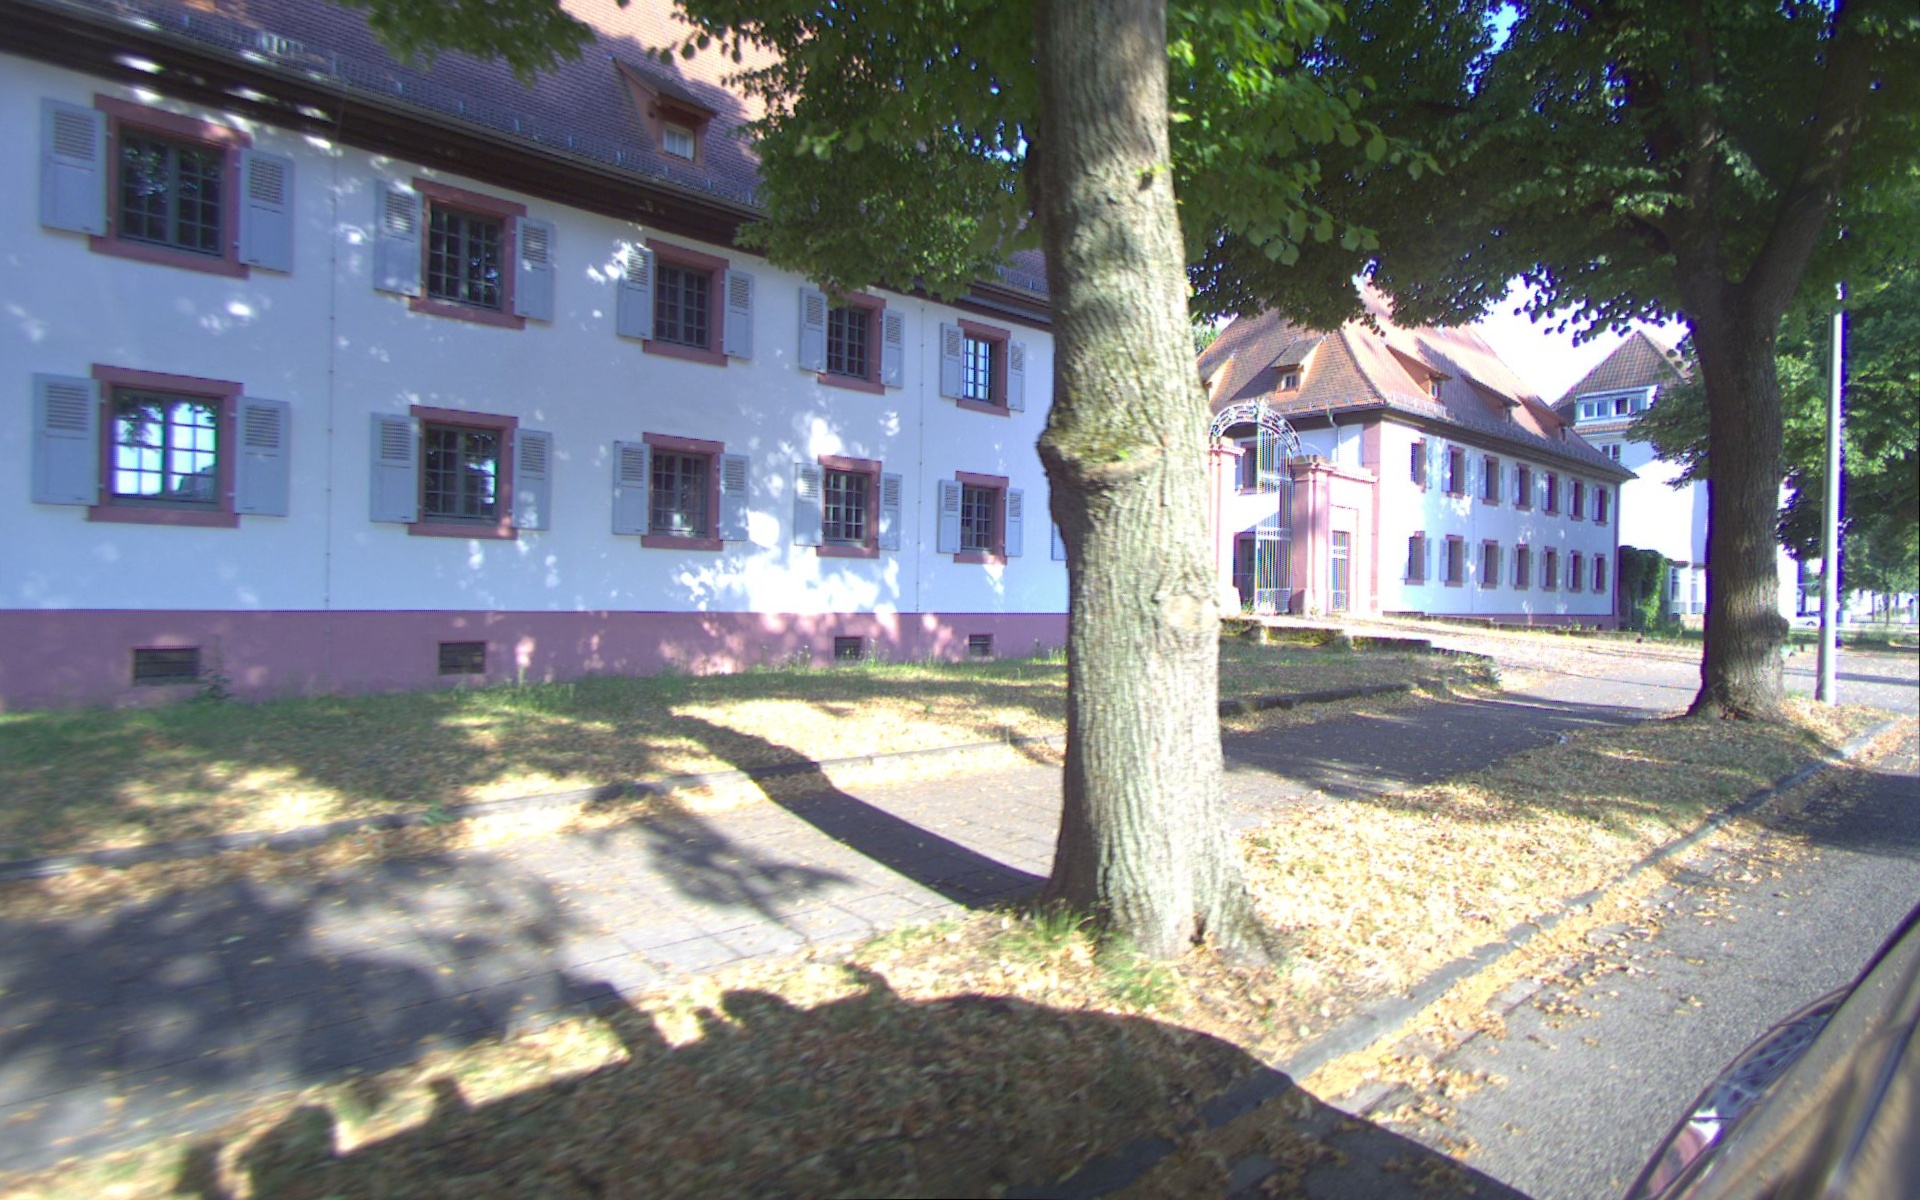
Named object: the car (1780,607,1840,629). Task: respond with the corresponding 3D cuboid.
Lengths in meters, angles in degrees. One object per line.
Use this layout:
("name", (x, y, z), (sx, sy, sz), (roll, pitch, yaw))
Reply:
("car", (71.787, 1.546, 85.462), (1.734, 1.441, 3.615), (9, -11, -42))

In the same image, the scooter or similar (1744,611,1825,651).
("scooter or similar", (21.001, 0.784, 25.795), (1.043, 0.553, 1.236), (-1, 21, -31))
